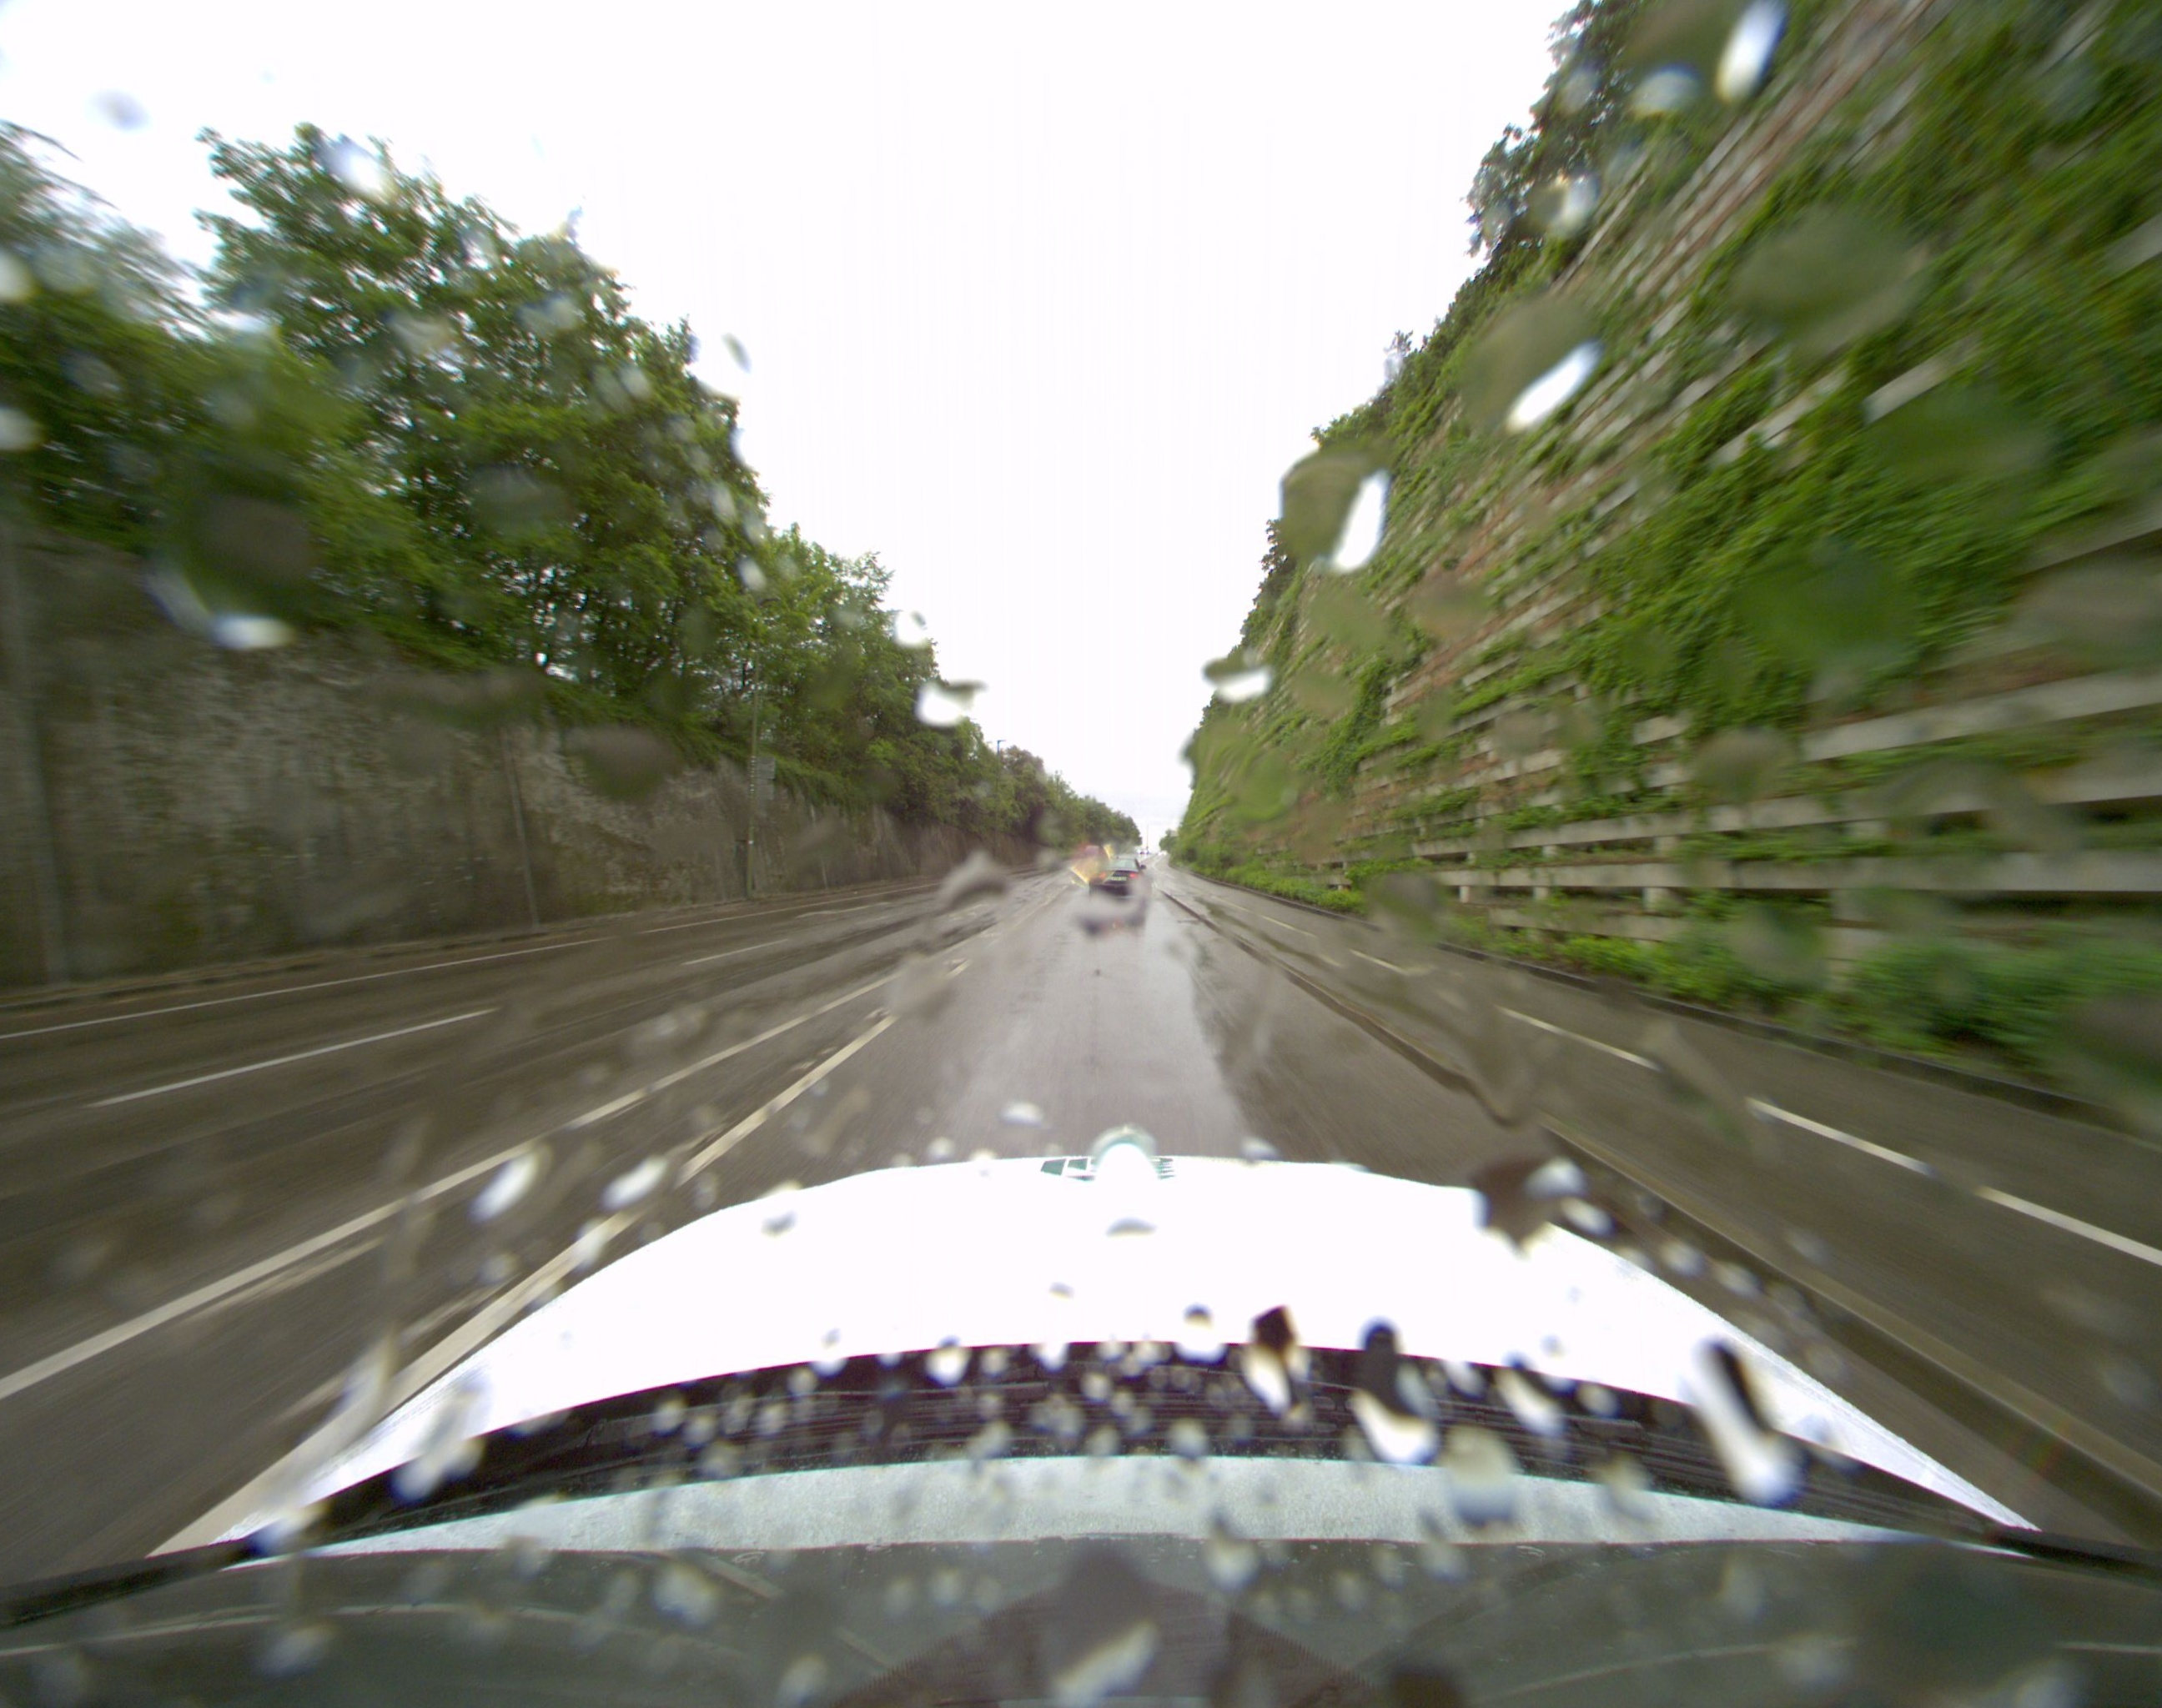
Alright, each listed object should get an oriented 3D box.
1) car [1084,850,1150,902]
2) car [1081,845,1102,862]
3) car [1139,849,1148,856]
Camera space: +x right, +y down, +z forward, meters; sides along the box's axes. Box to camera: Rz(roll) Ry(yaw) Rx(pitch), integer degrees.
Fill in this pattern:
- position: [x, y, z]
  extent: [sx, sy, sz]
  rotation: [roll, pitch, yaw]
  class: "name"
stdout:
- position: [1.229, 0.677, 26.495]
  extent: [1.884, 1.492, 4.212]
  rotation: [-3, -1, 4]
  class: "car"
- position: [1.106, -0.079, 81.716]
  extent: [1.724, 1.618, 4.007]
  rotation: [0, 0, 6]
  class: "car"
- position: [13.803, -0.305, 179.538]
  extent: [1.856, 1.449, 4.383]
  rotation: [-2, 0, 5]
  class: "car"
